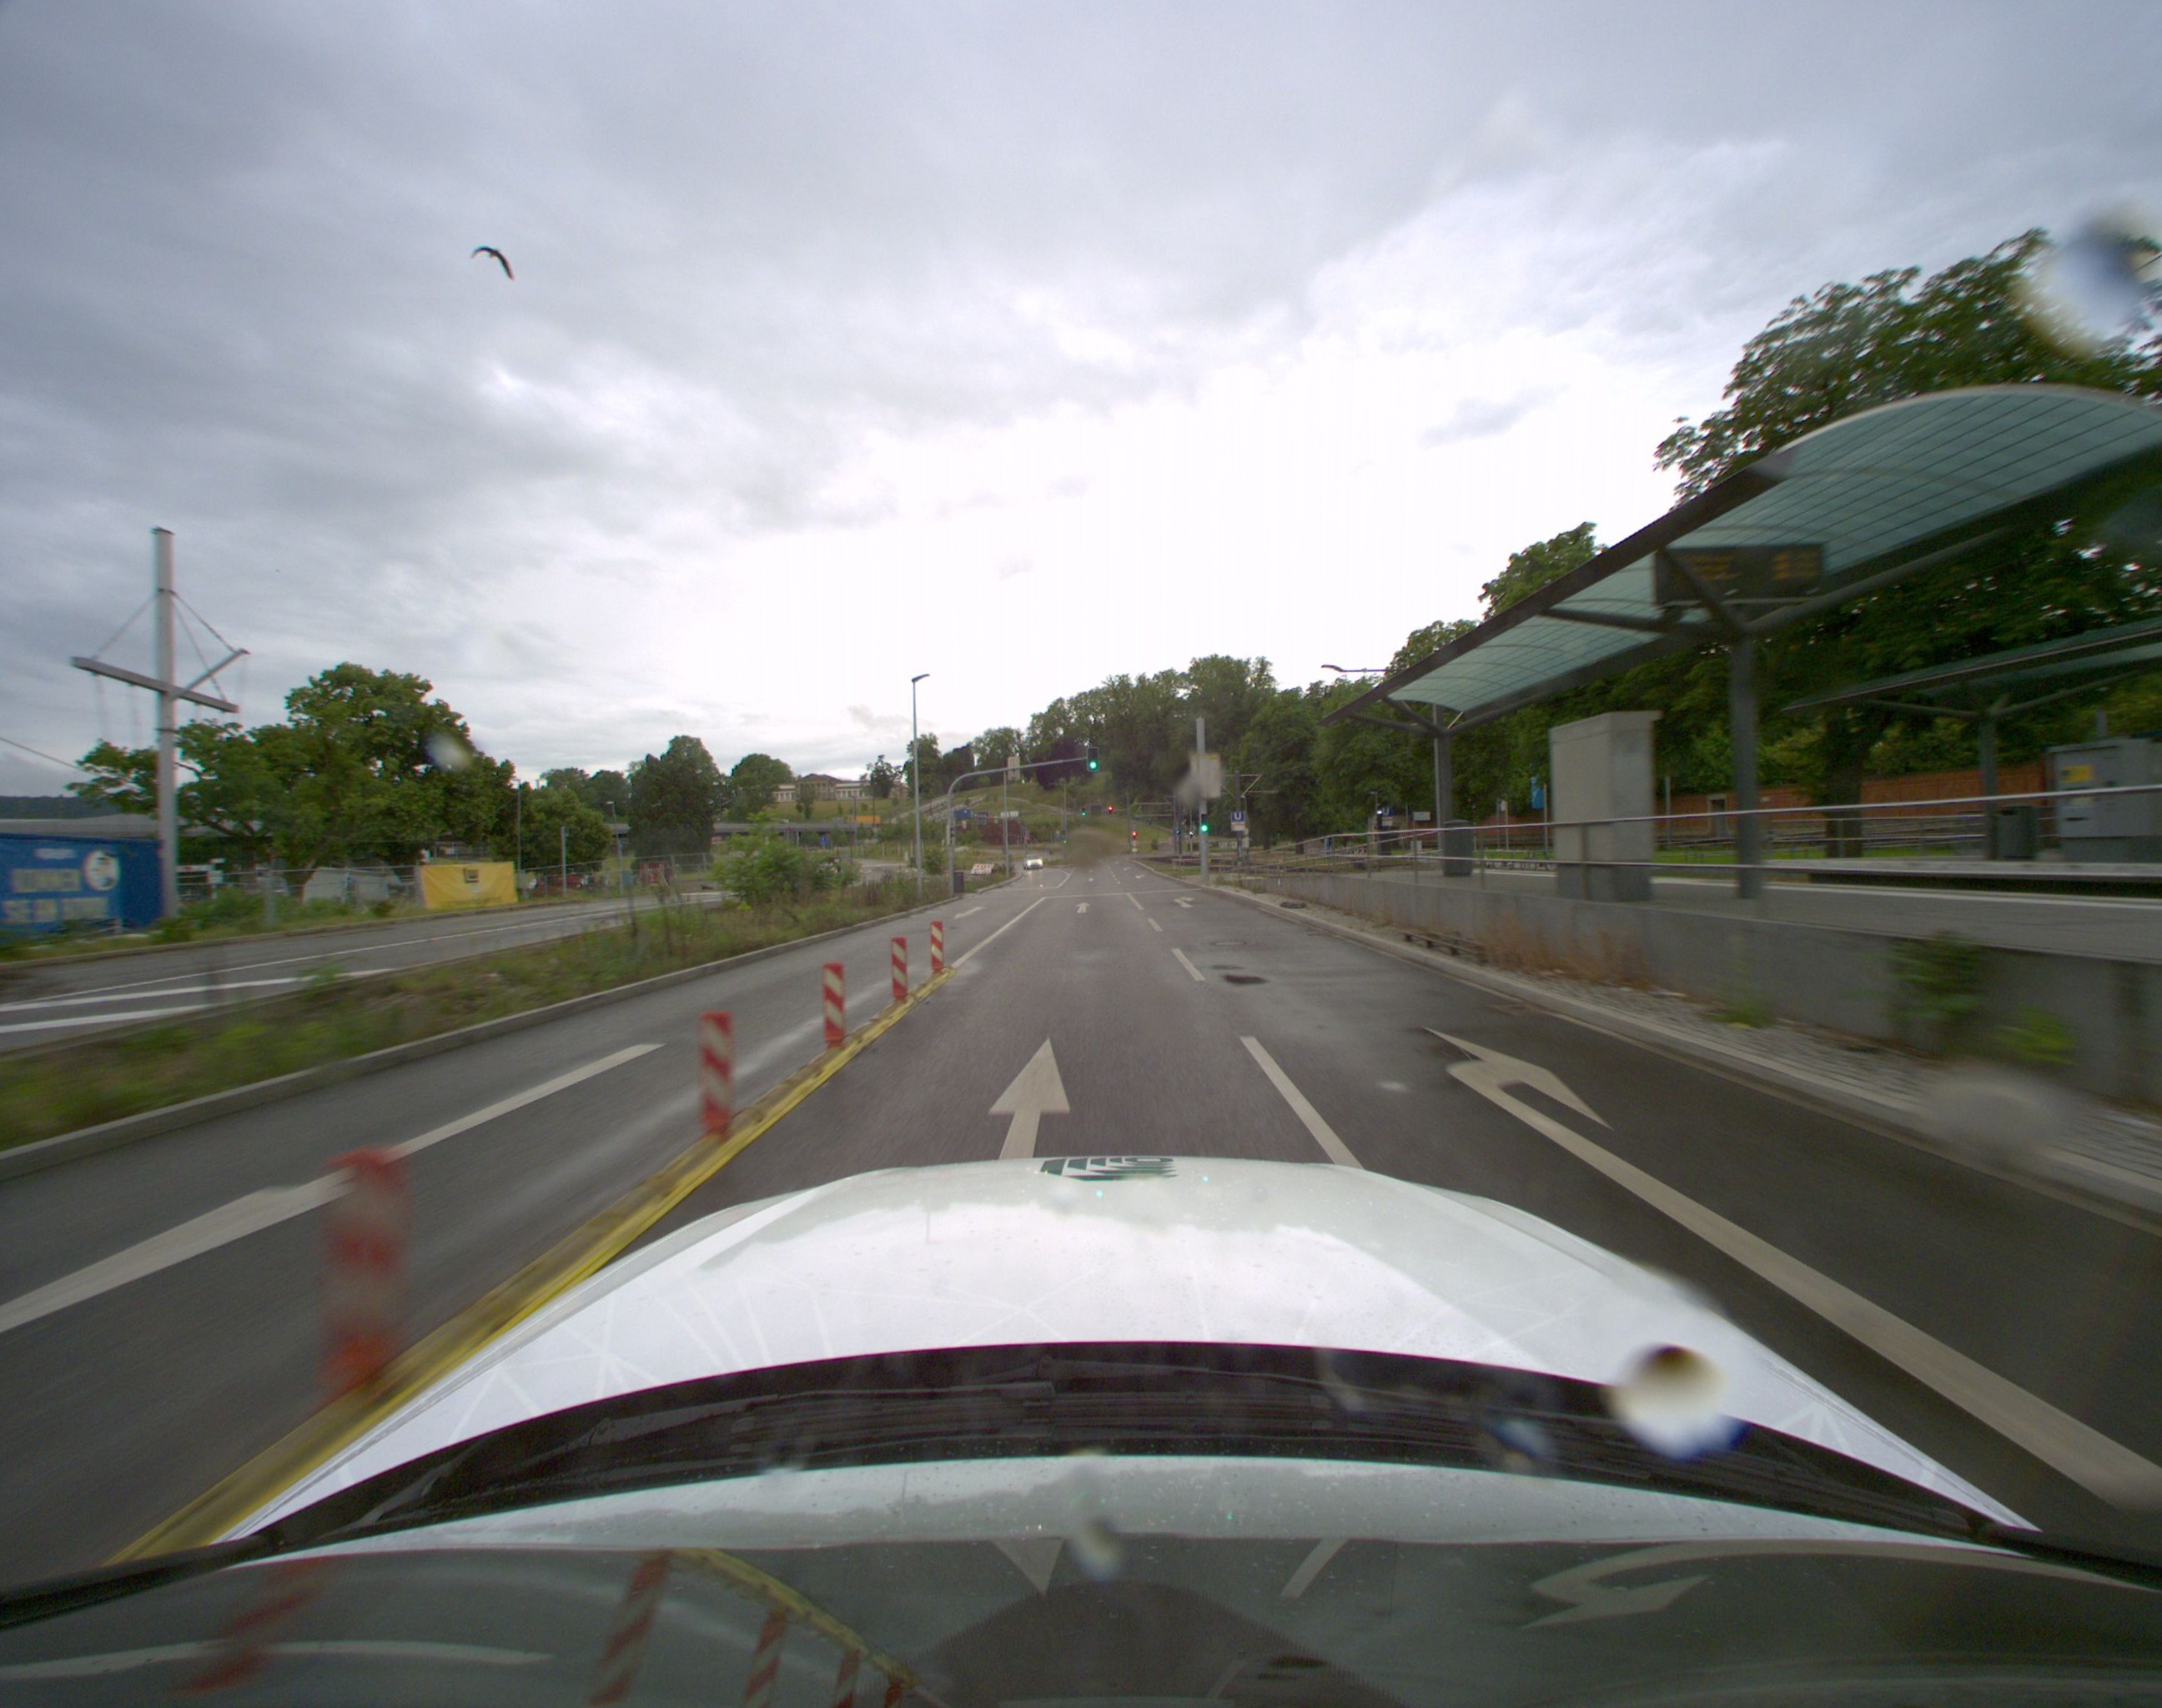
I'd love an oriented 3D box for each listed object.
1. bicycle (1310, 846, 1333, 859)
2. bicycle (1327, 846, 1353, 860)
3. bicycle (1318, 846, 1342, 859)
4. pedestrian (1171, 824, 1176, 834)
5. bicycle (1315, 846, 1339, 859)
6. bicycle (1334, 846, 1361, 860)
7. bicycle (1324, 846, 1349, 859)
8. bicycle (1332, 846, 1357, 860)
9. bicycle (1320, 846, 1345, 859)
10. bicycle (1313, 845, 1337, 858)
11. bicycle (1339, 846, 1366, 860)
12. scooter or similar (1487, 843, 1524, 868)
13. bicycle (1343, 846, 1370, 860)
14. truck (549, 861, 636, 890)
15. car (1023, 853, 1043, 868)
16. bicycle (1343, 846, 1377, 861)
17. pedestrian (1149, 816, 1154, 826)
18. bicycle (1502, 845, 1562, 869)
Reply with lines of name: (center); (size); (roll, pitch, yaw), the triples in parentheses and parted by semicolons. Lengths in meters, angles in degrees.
bicycle: (20.846, -0.171, 70.618); (1.805, 1.032, 0.652); (-3, 0, -2)
bicycle: (20.709, -0.108, 65.071); (1.805, 1.034, 0.652); (-3, 0, -2)
bicycle: (20.771, -0.131, 67.945); (1.805, 1.032, 0.652); (-3, 0, -2)
pedestrian: (17.516, -4.775, 154.319); (0.955, 1.781, 1.122); (0, 1, -1)
bicycle: (20.833, -0.162, 68.849); (1.805, 1.032, 0.652); (-3, 0, -2)
bicycle: (20.805, -0.091, 63.544); (1.841, 1.032, 0.652); (-3, 0, -2)
bicycle: (20.917, -0.134, 66.587); (1.805, 1.032, 0.652); (-3, 0, -2)
bicycle: (20.812, -0.087, 64.344); (1.805, 1.032, 0.652); (-3, 0, -2)
bicycle: (20.736, -0.128, 67.281); (1.829, 1.032, 0.652); (-3, 0, -2)
bicycle: (20.880, -0.181, 69.736); (1.805, 1.032, 0.652); (-3, 0, -2)
bicycle: (20.886, -0.091, 62.676); (1.805, 1.032, 0.652); (-3, 0, -2)
scooter or similar: (20.680, 0.065, 39.651); (1.539, 1.136, 0.431); (-3, 0, -1)
bicycle: (20.903, -0.088, 61.813); (1.805, 1.032, 0.652); (-3, 0, -2)
truck: (-53.883, 2.309, 89.889); (7.999, 2.802, 2.397); (-2, 0, -37)
car: (-4.958, 0.681, 83.281); (1.587, 1.491, 3.702); (-3, 0, -9)
bicycle: (20.857, -0.063, 60.905); (2.216, 1.032, 0.689); (-3, 0, -2)
pedestrian: (14.778, -6.872, 171.690); (0.790, 2.012, 0.654); (-6, 6, -15)
bicycle: (20.084, 0.135, 36.282); (2.314, 0.957, 0.570); (-3, 0, -1)
